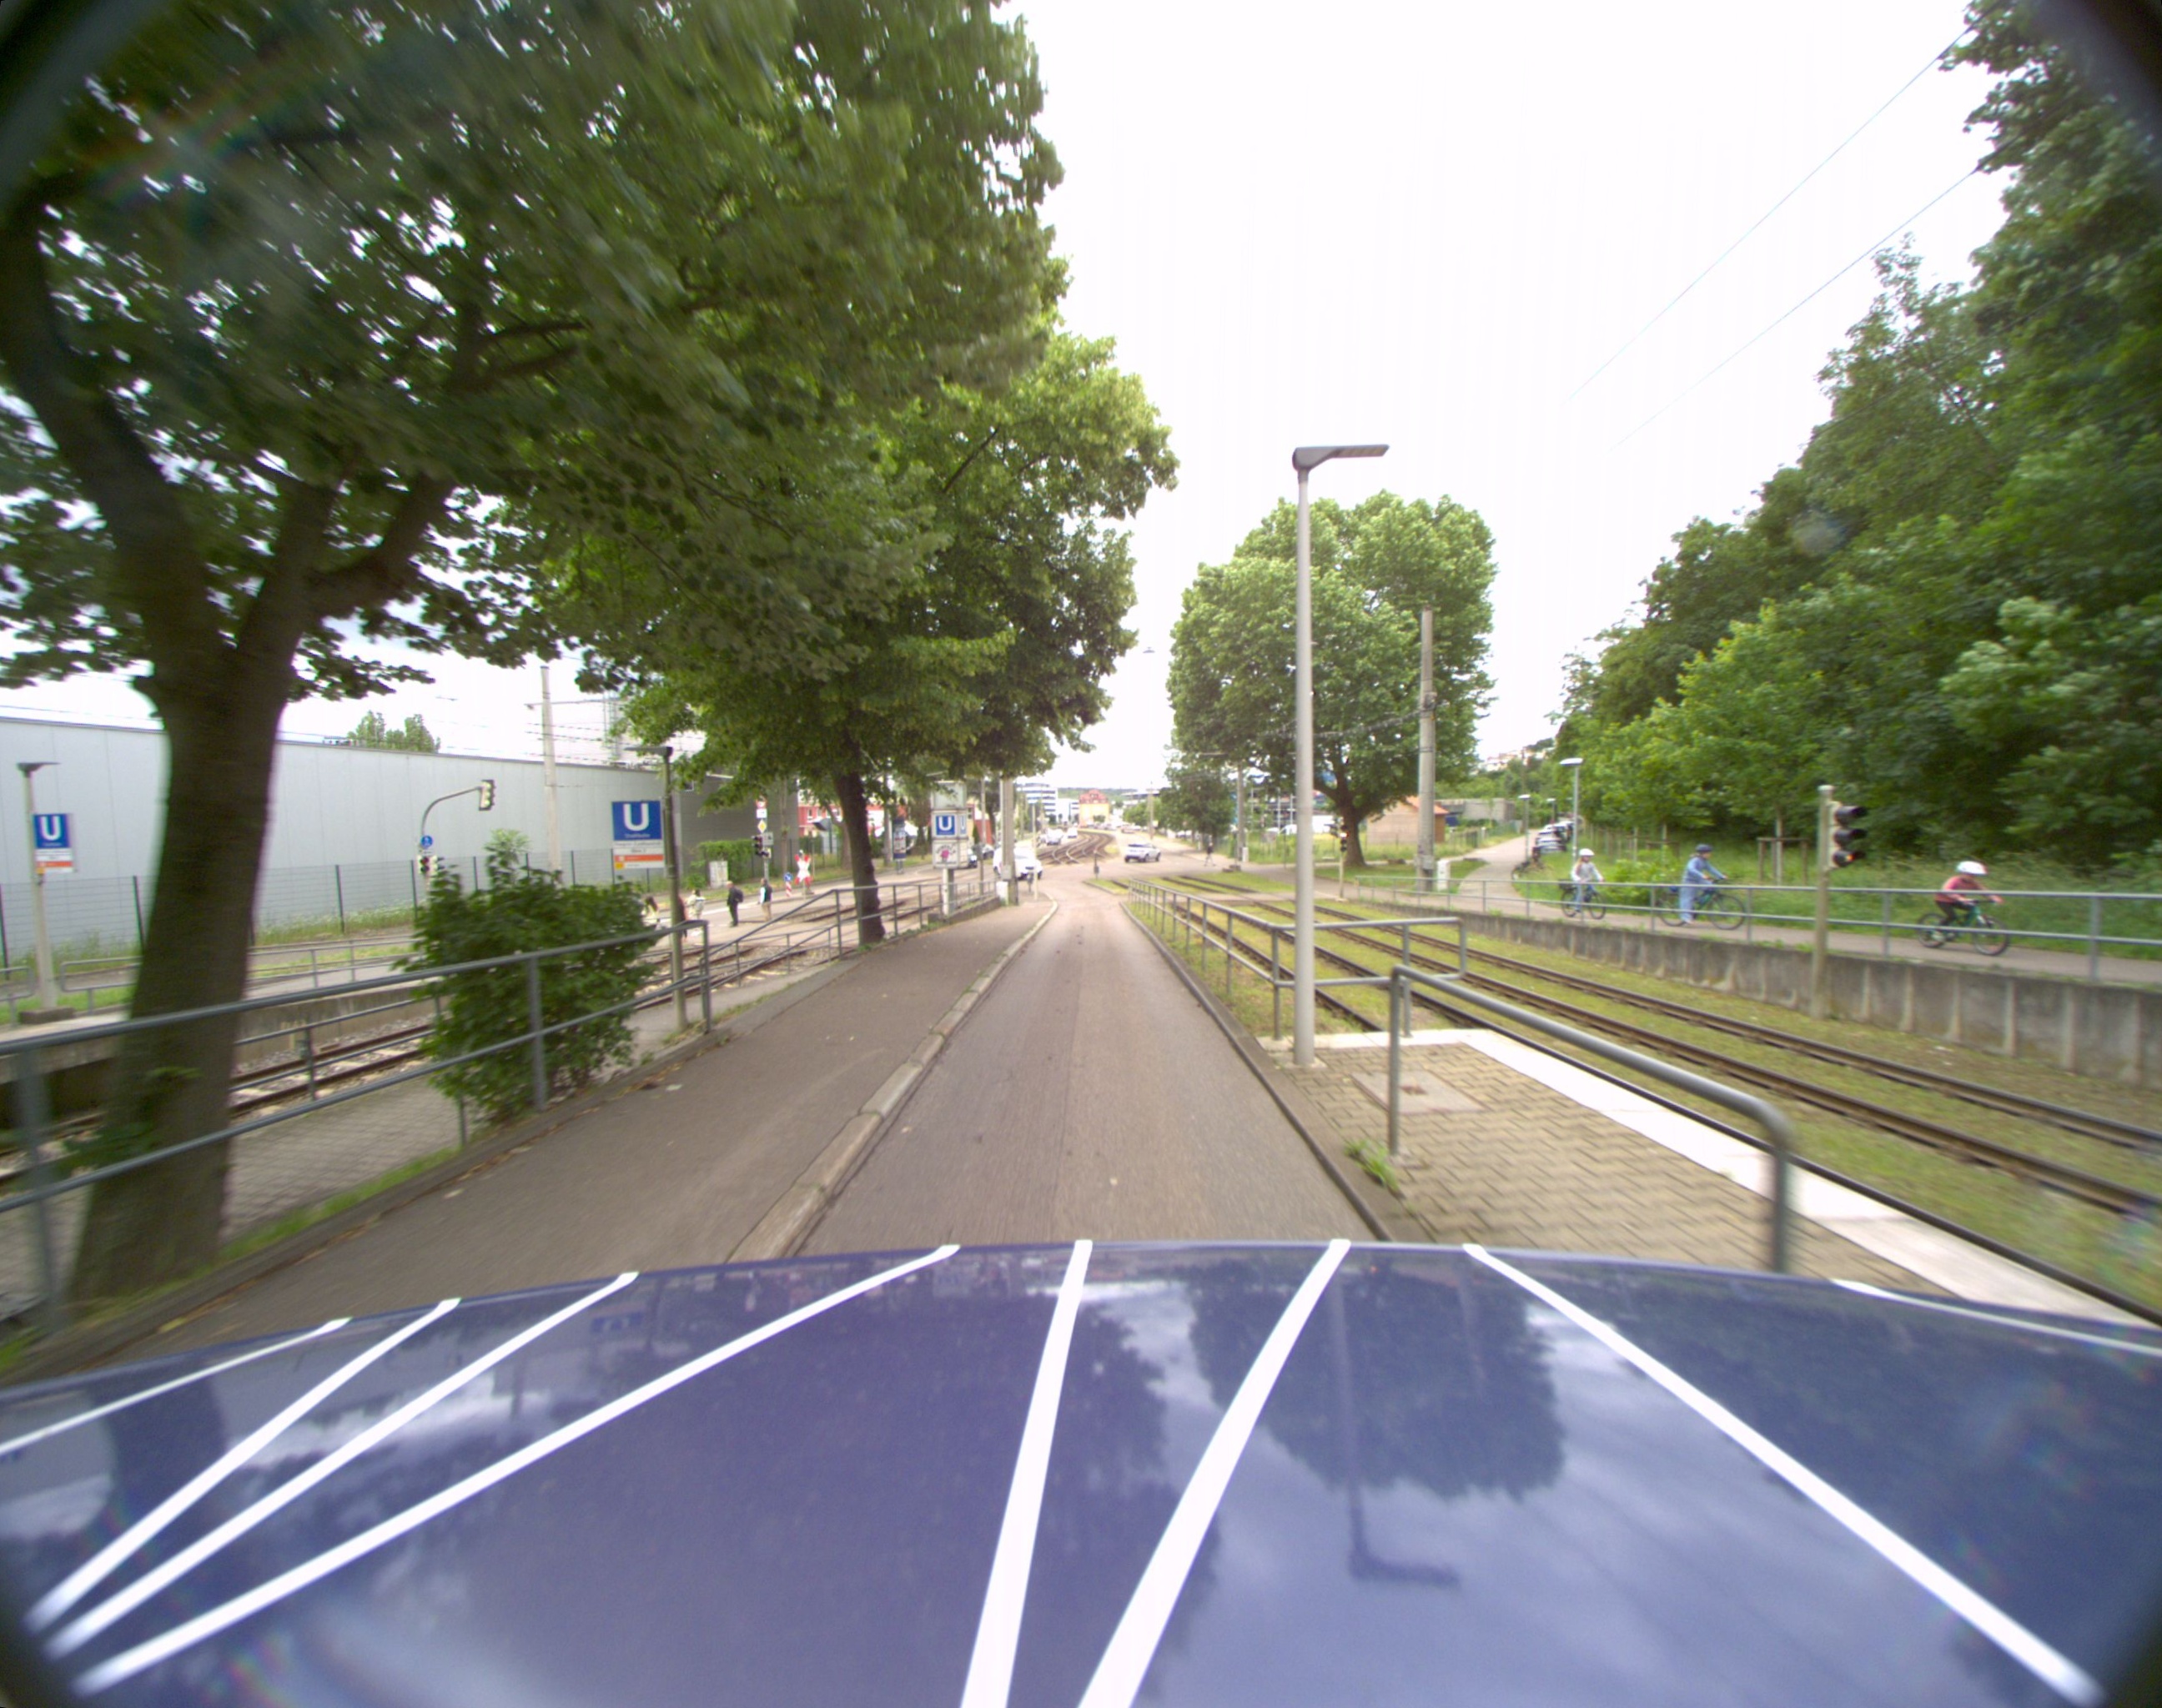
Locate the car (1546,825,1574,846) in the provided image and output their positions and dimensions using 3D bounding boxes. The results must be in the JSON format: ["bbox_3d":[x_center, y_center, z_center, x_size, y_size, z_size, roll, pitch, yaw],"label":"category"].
[{"bbox_3d":[41.529,-1.623,65.901,1.995,1.674,4.007,-1,1,33],"label":"car"}]

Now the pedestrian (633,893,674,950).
[{"bbox_3d":[-13.047,2.066,23.207,0.752,1.666,0.684,-2,1,12],"label":"pedestrian"}]

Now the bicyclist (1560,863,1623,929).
[{"bbox_3d":[11.409,0.932,17.007,0.747,1.422,0.908,-2,-1,0],"label":"bicyclist"}]

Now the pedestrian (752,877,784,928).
[{"bbox_3d":[-11.336,1.747,27.504,0.752,1.794,0.684,-2,1,12],"label":"pedestrian"}]

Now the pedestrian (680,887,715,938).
[{"bbox_3d":[-13.182,2.002,26.121,0.752,1.666,0.684,-2,1,12],"label":"pedestrian"}]

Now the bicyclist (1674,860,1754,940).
[{"bbox_3d":[11.857,0.842,14.259,0.732,1.434,0.840,-2,-1,0],"label":"bicyclist"}]

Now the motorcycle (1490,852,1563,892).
[{"bbox_3d":[19.417,0.748,33.117,3.063,1.543,1.257,-2,1,-26],"label":"motorcycle"}]

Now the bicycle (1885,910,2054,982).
[{"bbox_3d":[11.902,1.204,10.249,0.451,0.776,1.565,-2,-1,1],"label":"bicycle"}]

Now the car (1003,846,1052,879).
[{"bbox_3d":[-3.418,0.515,47.880,1.813,1.910,4.470,-2,1,-21],"label":"car"}]

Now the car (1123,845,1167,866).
[{"bbox_3d":[5.374,0.116,63.404,1.994,1.648,4.007,-1,1,33],"label":"car"}]

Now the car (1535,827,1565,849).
[{"bbox_3d":[38.232,-1.342,61.849,1.995,1.674,4.007,-1,1,33],"label":"car"}]

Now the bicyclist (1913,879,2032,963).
[{"bbox_3d":[11.924,0.883,10.189,0.691,1.047,0.744,-2,0,1],"label":"bicyclist"}]

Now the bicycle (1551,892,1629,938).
[{"bbox_3d":[11.409,1.357,17.115,0.479,0.919,1.845,-2,-1,0],"label":"bicycle"}]

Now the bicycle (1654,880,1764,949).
[{"bbox_3d":[11.766,1.098,14.322,0.464,1.181,1.940,-2,-1,1],"label":"bicycle"}]

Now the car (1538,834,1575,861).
[{"bbox_3d":[32.128,-0.460,51.338,1.995,1.674,4.007,-1,1,33],"label":"car"}]

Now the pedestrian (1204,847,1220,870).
[{"bbox_3d":[10.052,0.313,58.333,1.116,1.724,0.695,-2,1,16],"label":"pedestrian"}]

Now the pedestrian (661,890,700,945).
[{"bbox_3d":[-12.774,2.027,24.238,0.752,1.666,0.684,-2,1,12],"label":"pedestrian"}]

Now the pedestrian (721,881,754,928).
[{"bbox_3d":[-12.559,1.849,27.797,0.752,1.666,0.684,-2,1,12],"label":"pedestrian"}]

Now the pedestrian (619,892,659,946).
[{"bbox_3d":[-14.218,2.089,24.449,0.752,1.666,0.684,-2,1,12],"label":"pedestrian"}]
